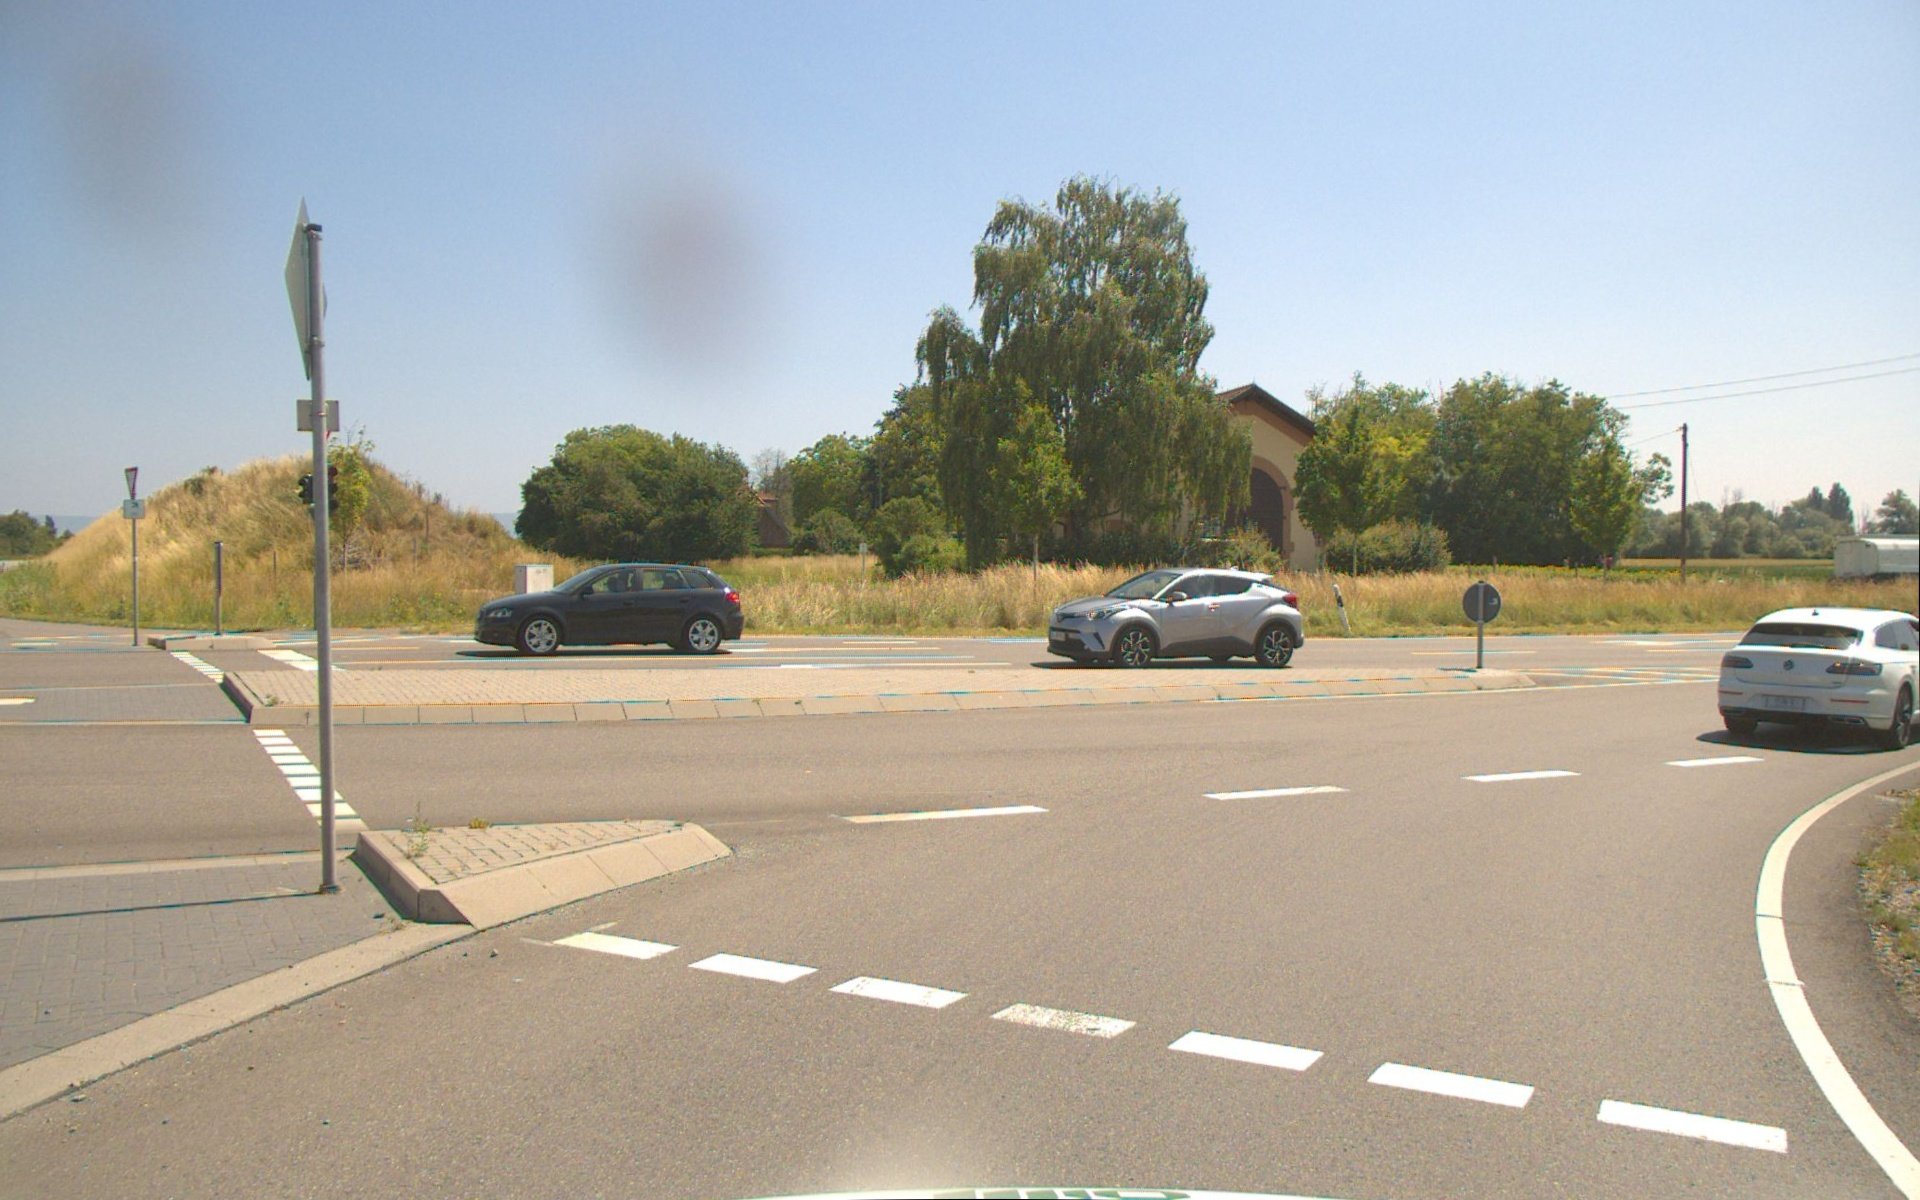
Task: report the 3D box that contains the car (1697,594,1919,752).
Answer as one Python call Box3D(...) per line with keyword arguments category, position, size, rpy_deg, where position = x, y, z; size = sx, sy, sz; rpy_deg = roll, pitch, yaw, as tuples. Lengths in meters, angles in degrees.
Box3D(category="car", position=(10.211, 0.731, 18.990), size=(1.822, 1.458, 4.580), rpy_deg=(3, 3, 42))

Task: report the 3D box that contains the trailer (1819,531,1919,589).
Box3D(category="trailer", position=(41.883, -1.813, 74.036), size=(6.272, 2.498, 2.670), rpy_deg=(-1, 3, -22))

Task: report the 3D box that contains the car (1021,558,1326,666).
Box3D(category="car", position=(3.384, 0.188, 26.198), size=(4.475, 1.570, 1.859), rpy_deg=(1, 2, -23))

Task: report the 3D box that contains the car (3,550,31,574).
Box3D(category="car", position=(-78.986, -3.171, 138.581), size=(1.959, 1.902, 4.424), rpy_deg=(1, 0, -29))

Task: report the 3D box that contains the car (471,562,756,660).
Box3D(category="car", position=(-5.517, 0.128, 26.347), size=(4.202, 1.392, 1.764), rpy_deg=(-1, 2, -23))
